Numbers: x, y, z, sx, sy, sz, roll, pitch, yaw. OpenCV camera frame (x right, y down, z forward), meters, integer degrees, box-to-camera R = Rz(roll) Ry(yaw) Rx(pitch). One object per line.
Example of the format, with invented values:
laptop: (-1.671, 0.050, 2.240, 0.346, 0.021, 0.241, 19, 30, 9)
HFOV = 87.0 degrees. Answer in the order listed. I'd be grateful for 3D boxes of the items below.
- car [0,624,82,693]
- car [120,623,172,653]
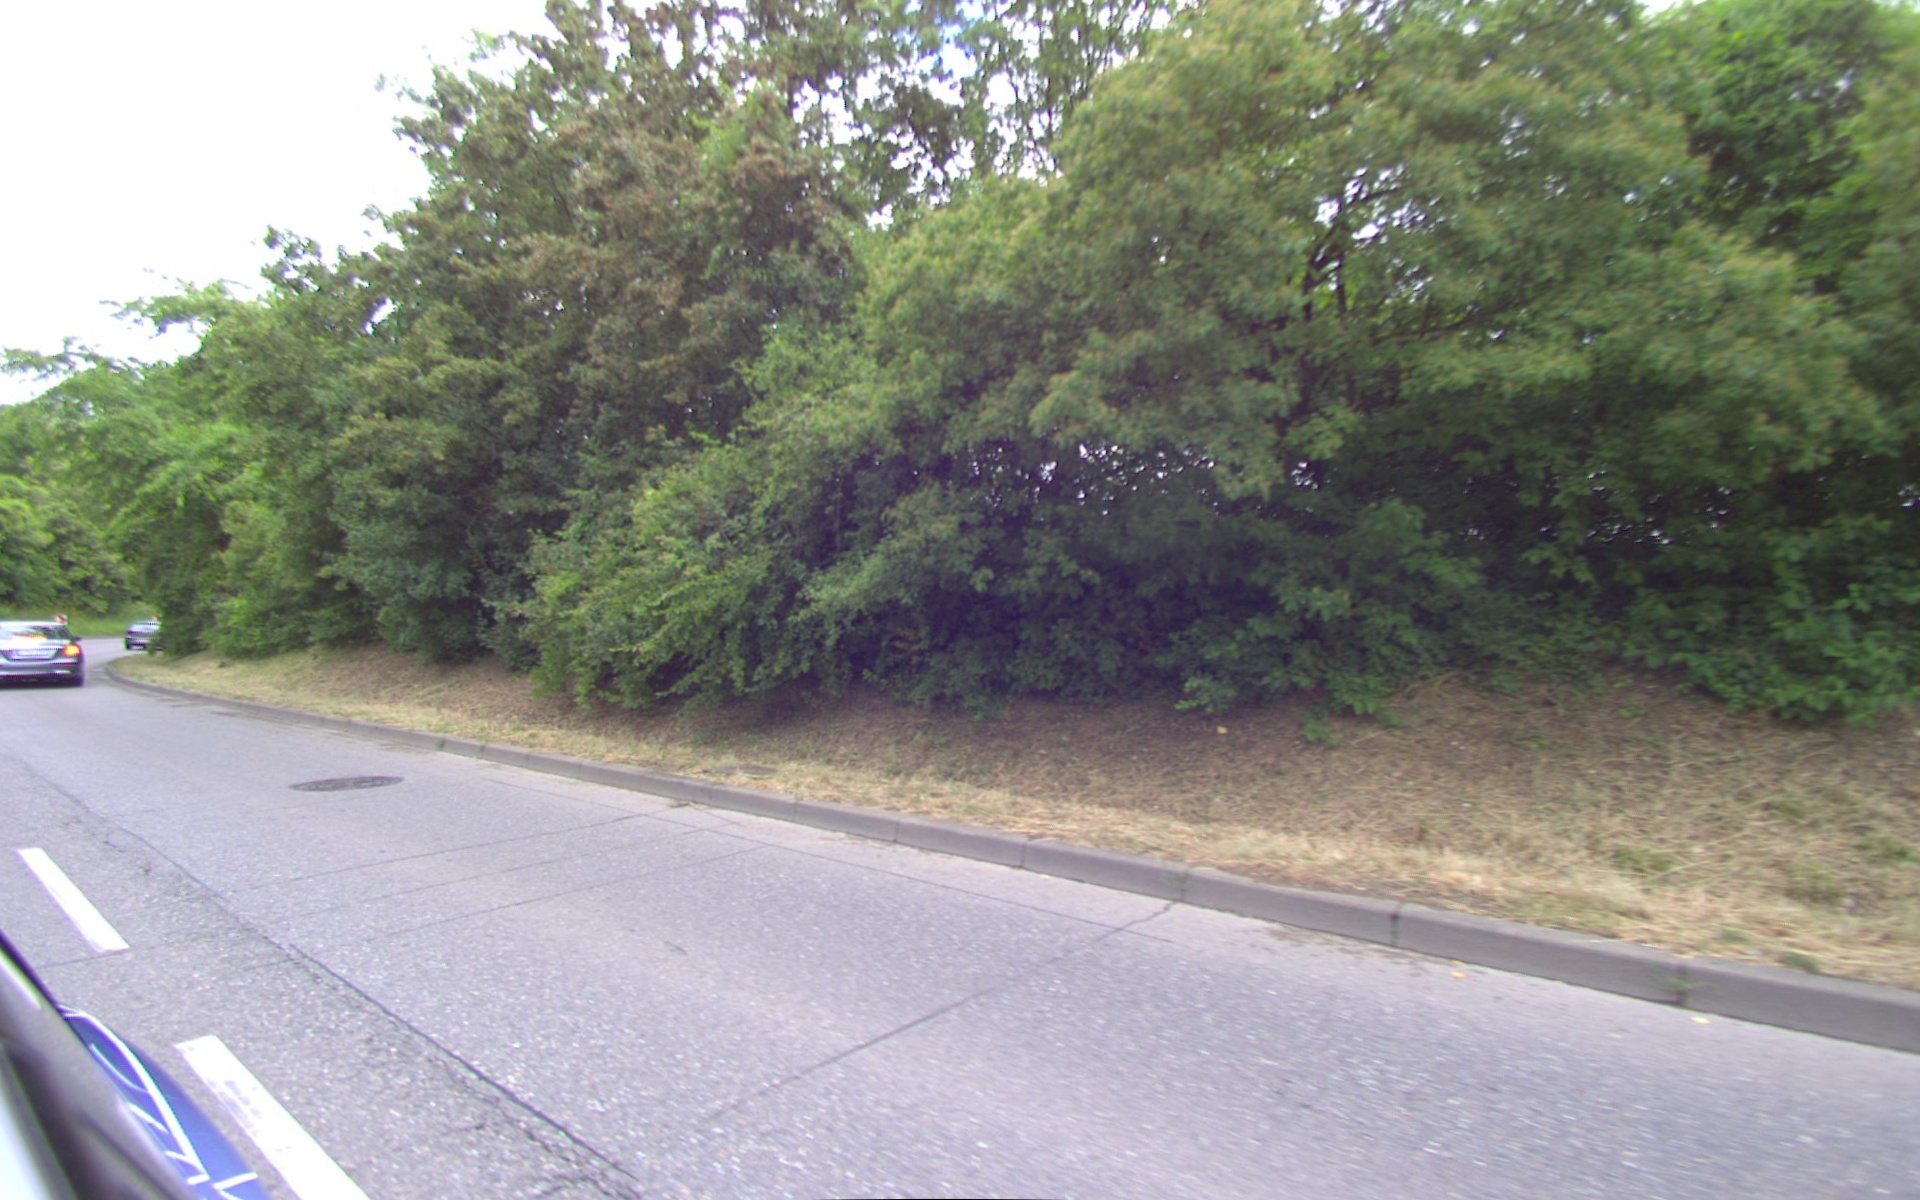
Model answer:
car: (-21.148, 1.256, 22.759, 1.810, 1.416, 4.434, 0, -1, -45)
car: (-40.966, 1.891, 50.990, 1.611, 1.416, 3.607, 1, -2, -33)
